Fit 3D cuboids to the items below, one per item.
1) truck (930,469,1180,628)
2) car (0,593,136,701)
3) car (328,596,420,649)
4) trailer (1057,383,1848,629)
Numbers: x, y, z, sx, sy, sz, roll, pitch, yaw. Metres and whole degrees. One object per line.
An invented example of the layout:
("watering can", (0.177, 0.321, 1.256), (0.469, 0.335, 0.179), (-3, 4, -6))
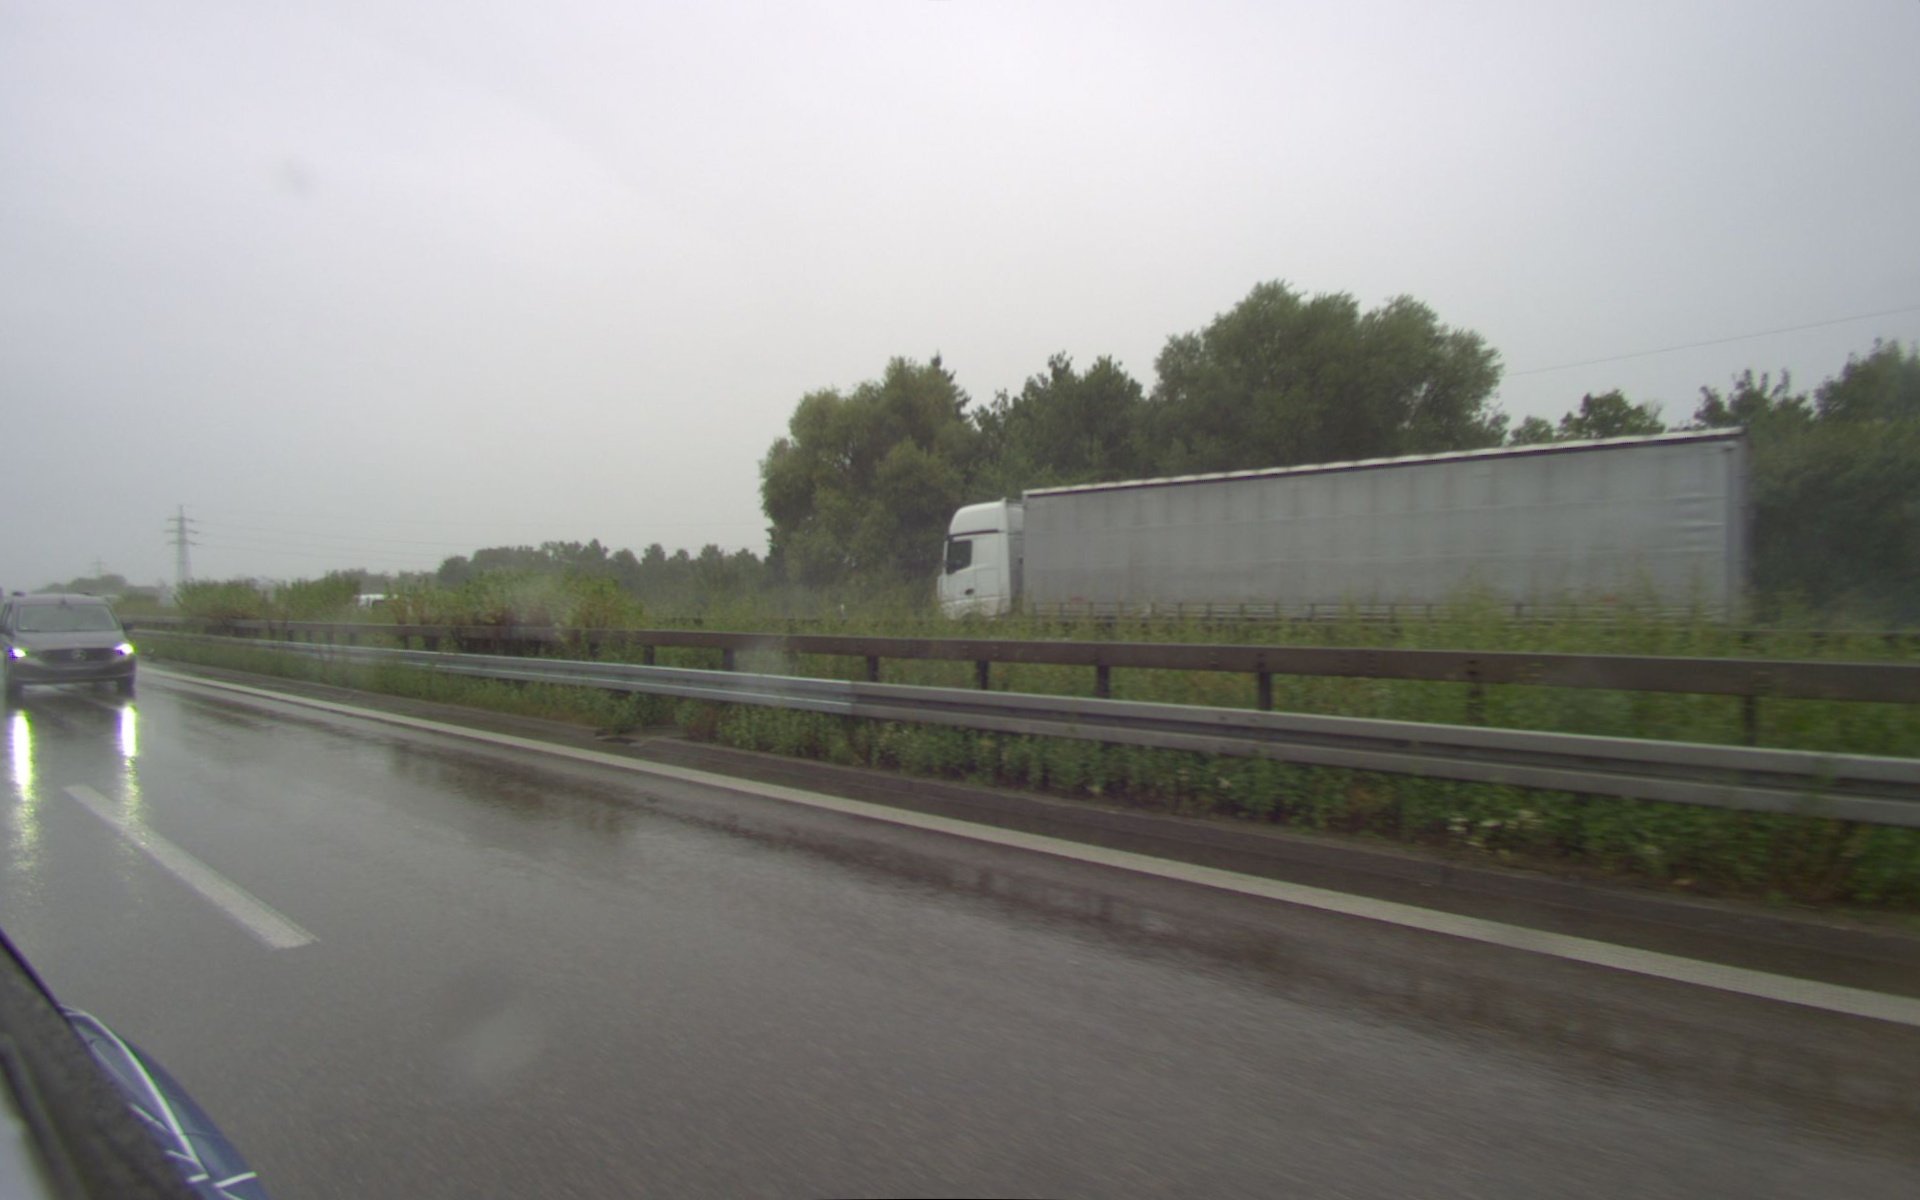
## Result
("truck", (2.230, -1.101, 24.761), (5.524, 3.442, 2.640), (-2, 1, 41))
("car", (-17.076, 0.811, 19.075), (2.018, 1.787, 4.504), (0, 0, -44))
("car", (-20.935, 0.776, 36.127), (3.800, 1.777, 1.722), (-1, -1, 41))
("trailer", (8.170, -1.227, 19.585), (13.440, 3.433, 2.646), (-1, 1, 41))
